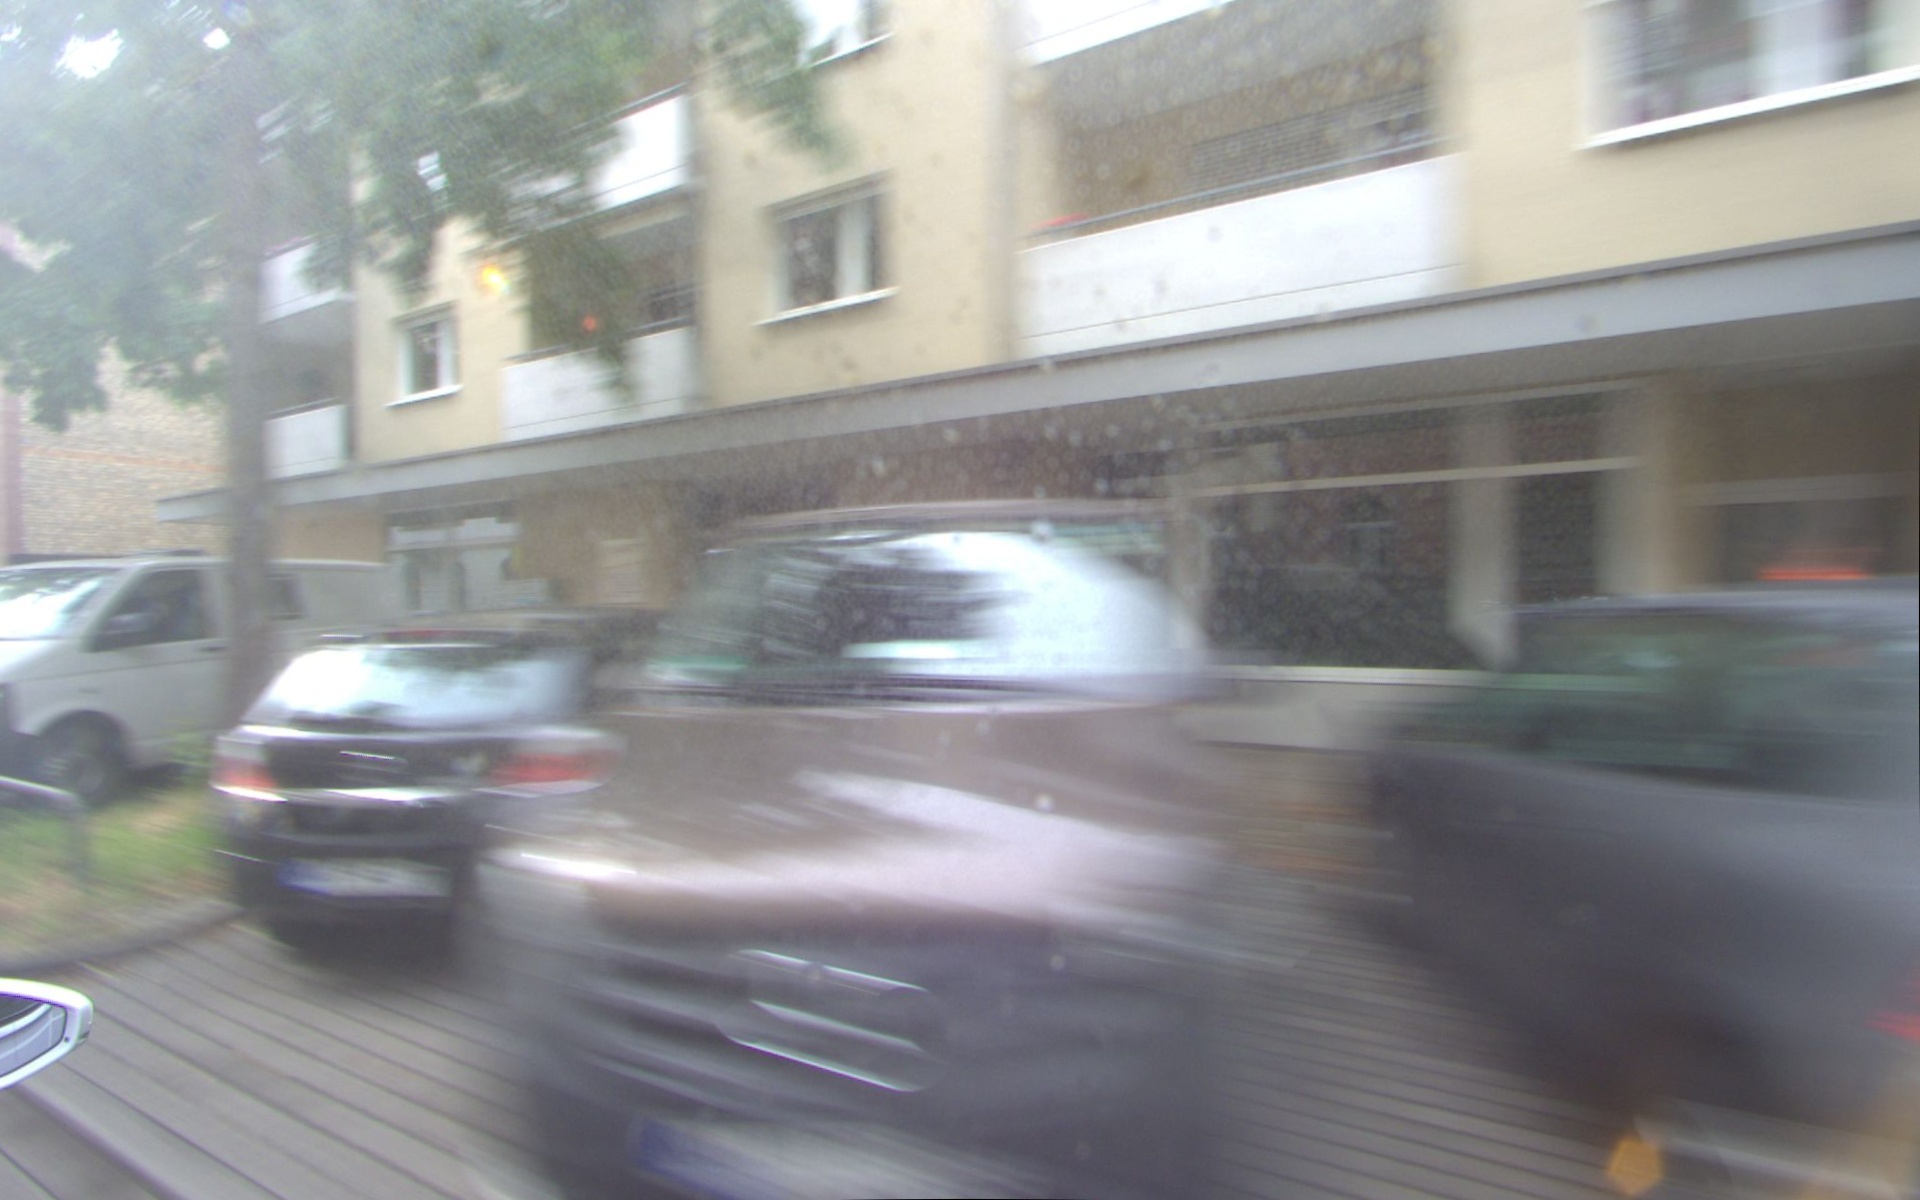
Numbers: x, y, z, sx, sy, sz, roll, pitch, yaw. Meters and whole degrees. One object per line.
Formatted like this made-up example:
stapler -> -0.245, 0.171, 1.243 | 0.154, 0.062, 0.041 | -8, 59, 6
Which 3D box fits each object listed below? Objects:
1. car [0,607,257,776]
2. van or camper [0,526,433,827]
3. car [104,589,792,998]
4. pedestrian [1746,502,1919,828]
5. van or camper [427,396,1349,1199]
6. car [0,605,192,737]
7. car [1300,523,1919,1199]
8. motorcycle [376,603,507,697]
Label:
car -> -9.562, 0.863, 10.676 | 1.638, 1.461, 3.423 | -1, 1, 1
van or camper -> -7.162, 0.531, 8.833 | 1.962, 2.020, 4.742 | -3, 1, 8
car -> -2.253, 0.713, 5.759 | 1.806, 1.464, 4.006 | -1, 1, 1
pedestrian -> 5.141, 0.352, 5.814 | 0.837, 1.765, 0.623 | 0, 1, 32
van or camper -> 0.007, 0.487, 4.793 | 2.086, 1.894, 5.020 | -1, 1, 5
car -> -11.835, 0.852, 11.983 | 1.886, 1.412, 4.312 | -1, 1, 1
car -> 2.400, 0.627, 2.966 | 1.876, 1.522, 3.860 | -1, 0, 7
motorcycle -> -7.871, 0.733, 15.164 | 2.220, 1.319, 0.676 | -1, 3, 32
